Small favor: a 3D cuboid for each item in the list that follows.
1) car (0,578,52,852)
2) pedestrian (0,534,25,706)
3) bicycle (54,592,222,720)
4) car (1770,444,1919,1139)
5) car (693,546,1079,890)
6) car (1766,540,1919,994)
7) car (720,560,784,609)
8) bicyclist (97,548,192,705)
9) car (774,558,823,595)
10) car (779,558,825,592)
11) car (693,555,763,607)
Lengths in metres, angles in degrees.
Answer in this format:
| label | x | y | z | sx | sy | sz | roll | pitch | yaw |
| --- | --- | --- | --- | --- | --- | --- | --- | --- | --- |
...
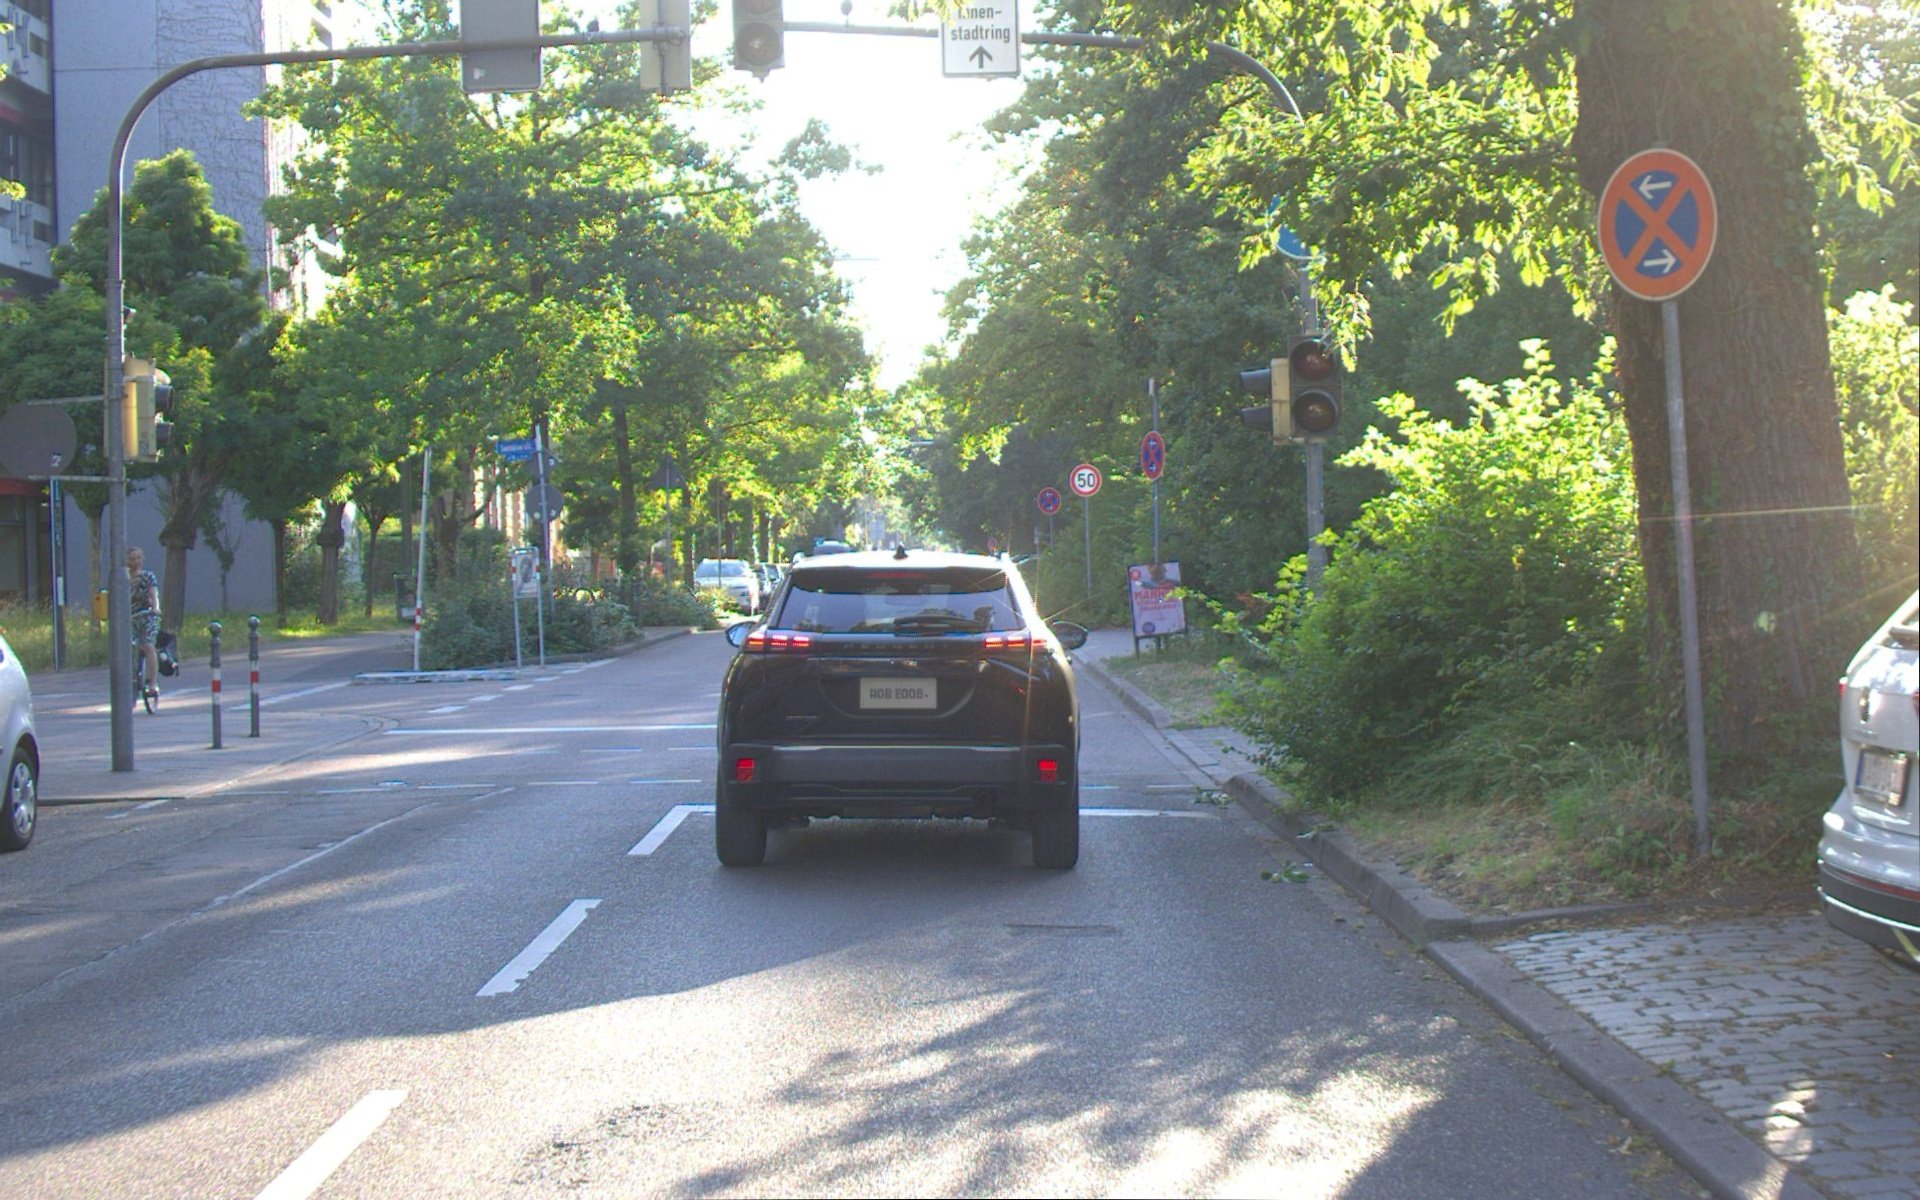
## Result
| label | x | y | z | sx | sy | sz | roll | pitch | yaw |
| --- | --- | --- | --- | --- | --- | --- | --- | --- | --- |
| car | -6.006 | 0.682 | 17.455 | 1.679 | 1.452 | 3.882 | -2 | 1 | 0 |
| pedestrian | -10.591 | 0.216 | 36.666 | 0.954 | 1.817 | 0.822 | -1 | 1 | 1 |
| bicycle | -8.429 | 0.557 | 35.346 | 0.687 | 1.245 | 2.191 | 0 | 1 | 16 |
| car | 4.442 | 0.437 | 9.195 | 4.171 | 1.704 | 1.867 | 0 | 1 | 4 |
| car | -0.373 | 0.518 | 17.601 | 1.768 | 1.563 | 3.381 | -1 | 1 | -1 |
| car | 4.653 | 0.522 | 11.982 | 3.191 | 1.488 | 1.685 | -1 | 1 | -8 |
| car | -6.106 | -0.463 | 100.648 | 1.810 | 1.349 | 4.001 | -2 | 1 | -4 |
| bicyclist | -8.404 | 0.263 | 35.427 | 0.676 | 1.598 | 0.706 | 0 | 1 | 16 |
| car | -6.326 | -0.916 | 134.490 | 1.810 | 1.349 | 3.980 | -2 | 1 | -4 |
| car | -6.645 | -1.060 | 144.549 | 1.810 | 1.349 | 4.001 | -2 | 1 | -4 |
| car | -6.390 | -0.534 | 94.402 | 1.810 | 1.349 | 4.001 | -2 | 1 | -5 |
